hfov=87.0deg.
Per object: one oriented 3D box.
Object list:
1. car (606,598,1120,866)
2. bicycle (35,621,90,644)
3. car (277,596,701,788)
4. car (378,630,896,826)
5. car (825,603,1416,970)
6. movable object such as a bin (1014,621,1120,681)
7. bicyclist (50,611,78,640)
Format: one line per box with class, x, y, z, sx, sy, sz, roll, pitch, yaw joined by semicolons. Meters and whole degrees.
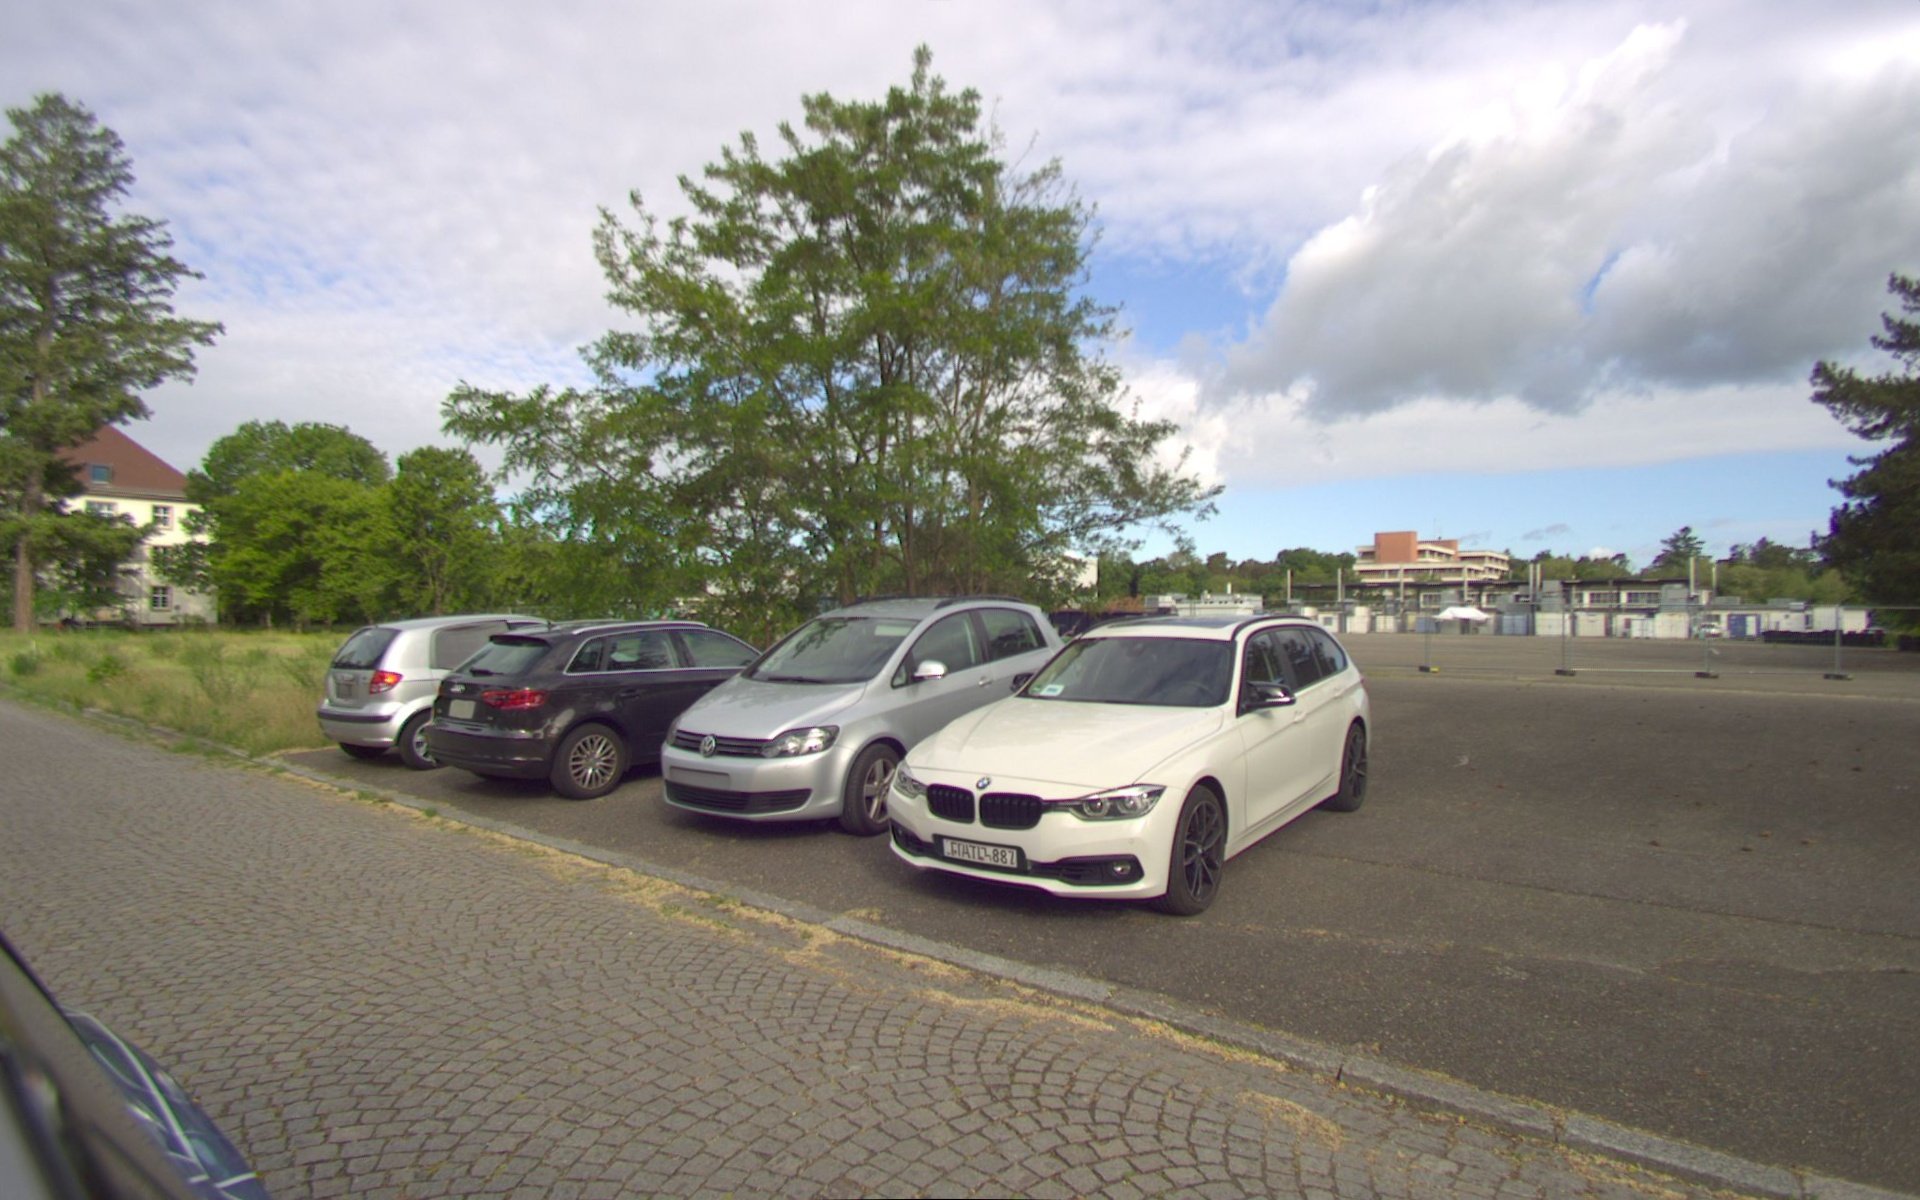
car;-0.495;0.804;8.484;1.843;1.602;4.434;-1;0;36
bicycle;-59.866;2.174;67.501;1.273;1.516;2.637;-2;-2;45
car;-5.046;0.849;11.367;1.677;1.466;3.941;-1;4;35
car;-2.824;1.014;9.874;1.882;1.433;4.577;-1;-2;37
car;1.466;0.821;6.828;1.910;1.450;4.761;-1;1;37
movable object such as a bin;2.381;1.078;22.209;1.169;1.221;2.506;-1;-2;39
bicyclist;-59.792;1.711;67.542;1.300;1.882;1.250;2;-2;-45
